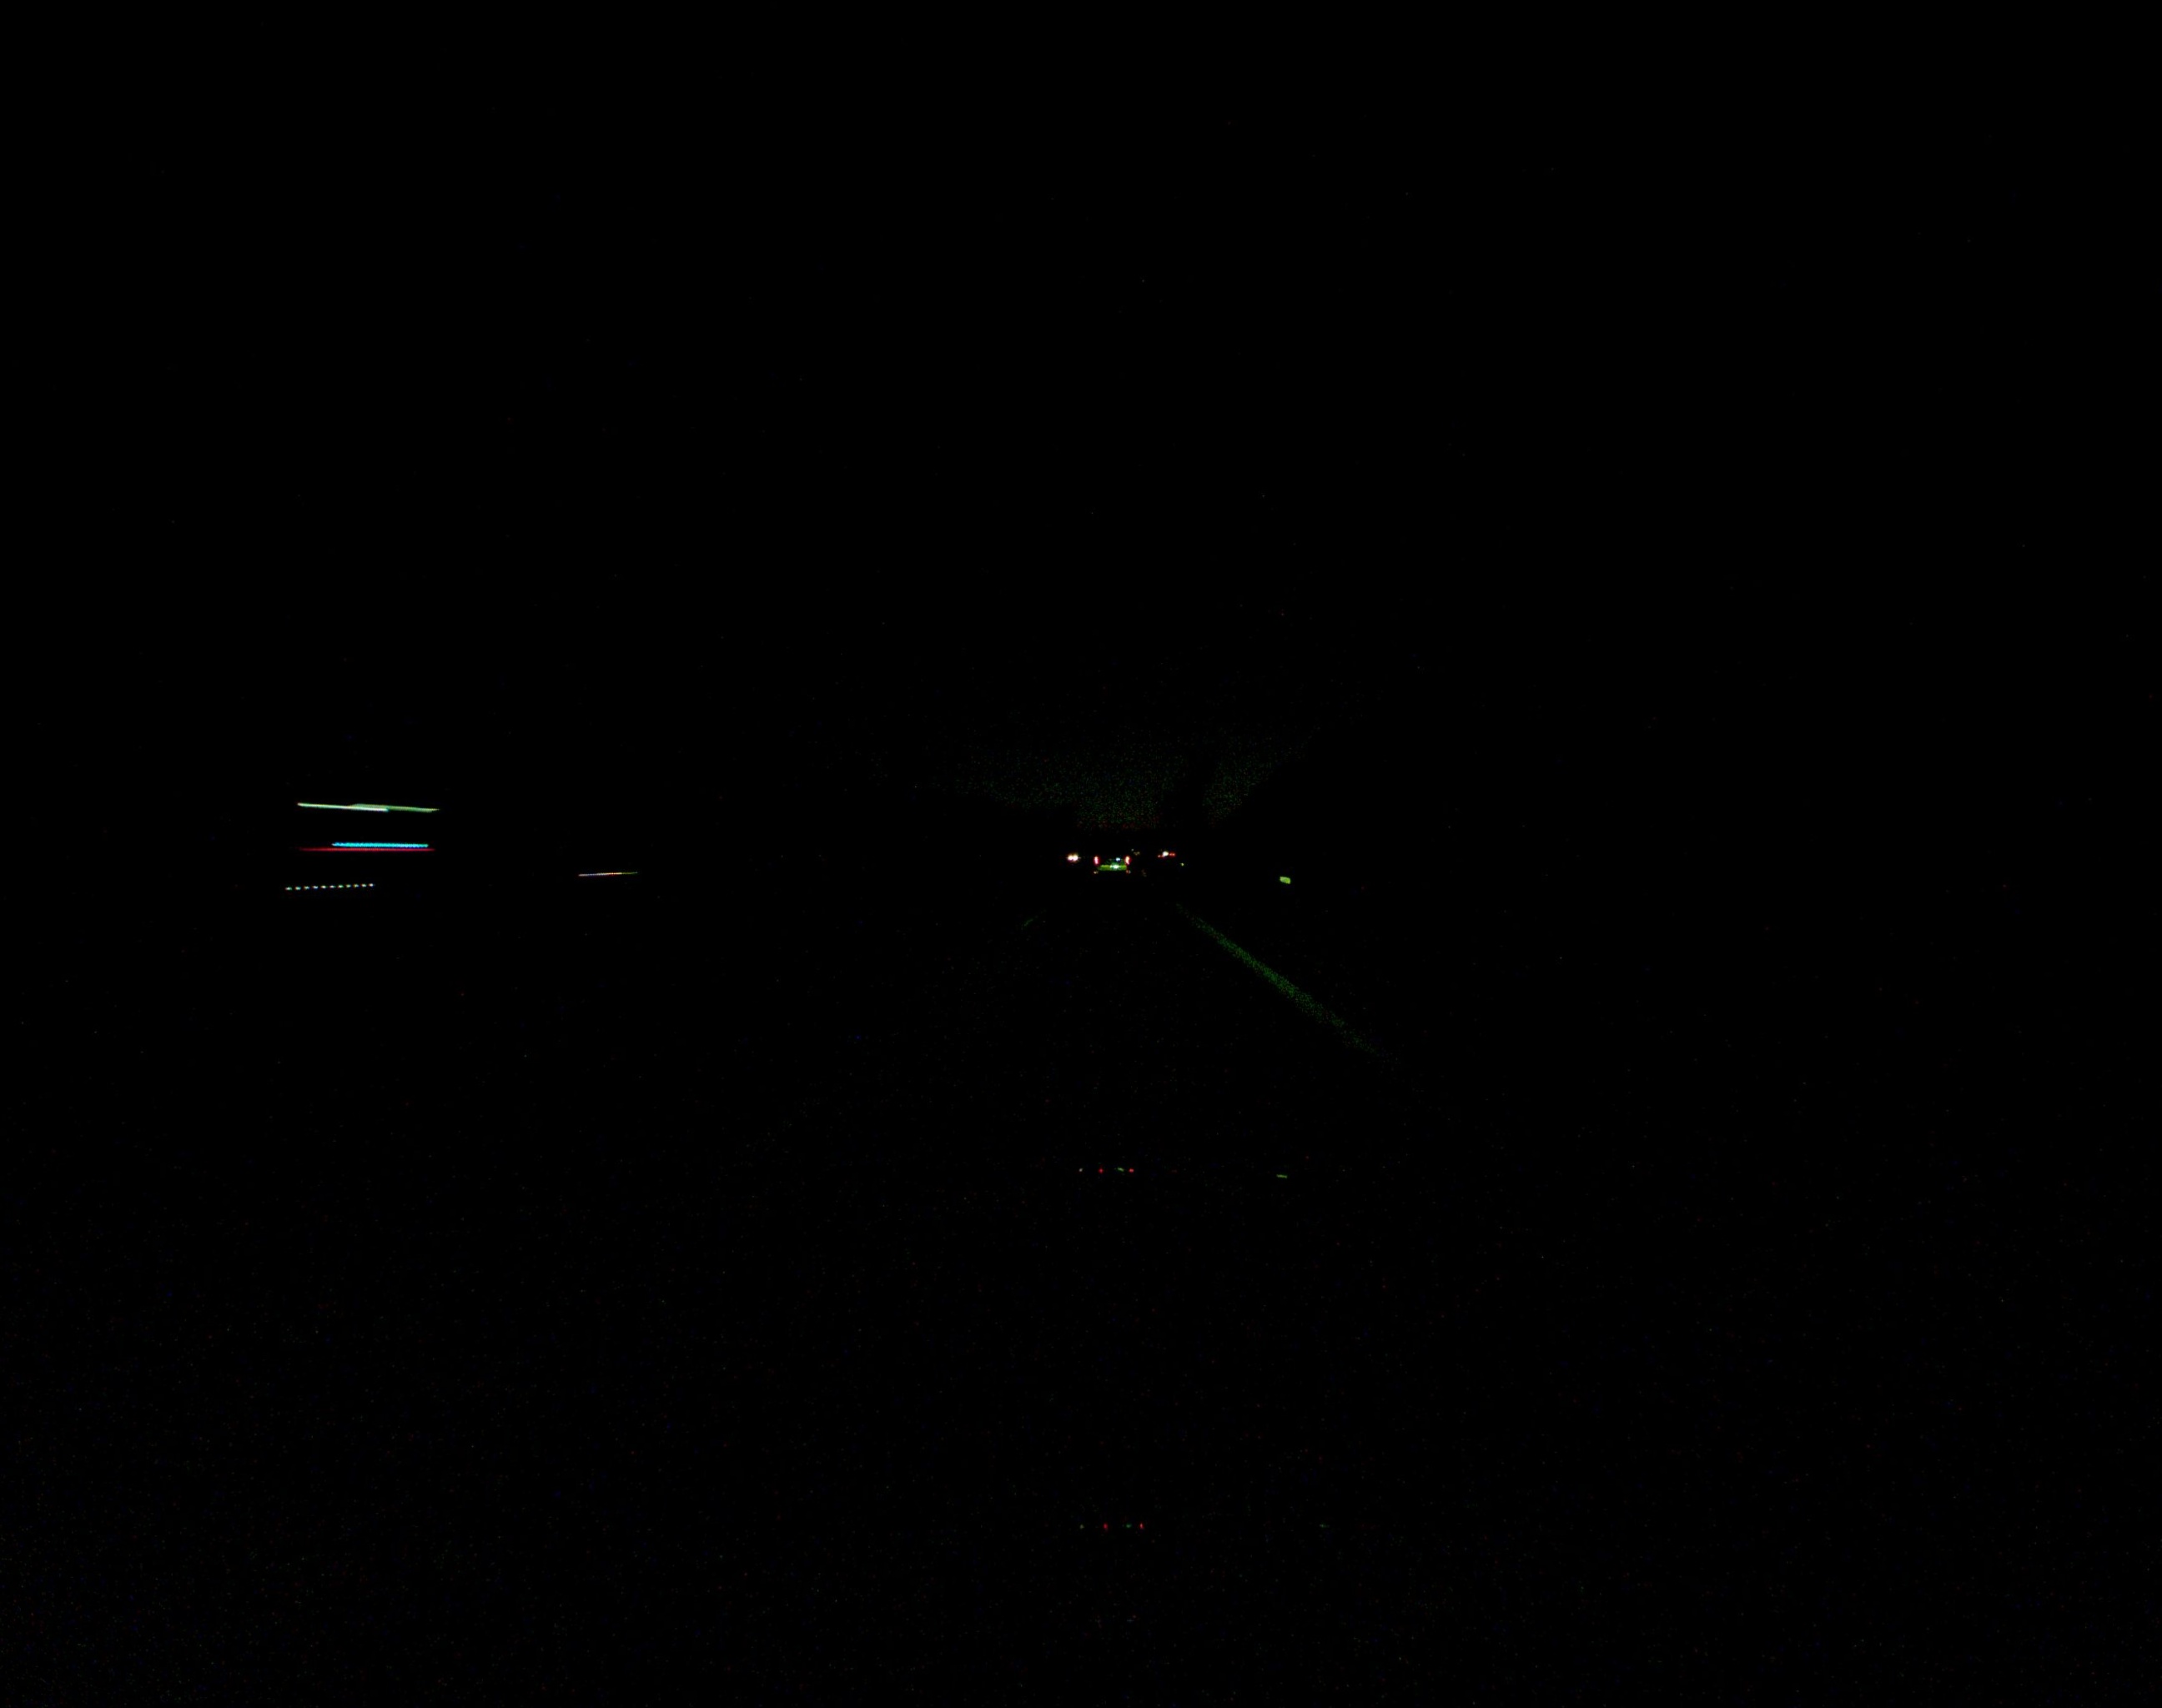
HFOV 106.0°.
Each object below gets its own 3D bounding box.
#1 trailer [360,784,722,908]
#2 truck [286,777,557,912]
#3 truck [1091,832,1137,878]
[{"bbox_3d":[-21.509,-0.171,35.326,3.528,4.000,17.293,-1,-1,3],"label":"trailer"},{"bbox_3d":[-21.846,-0.242,27.645,3.488,3.970,6.704,-1,-1,3],"label":"truck"},{"bbox_3d":[2.009,0.118,51.191,2.621,2.624,8.686,-1,-1,1],"label":"truck"}]
